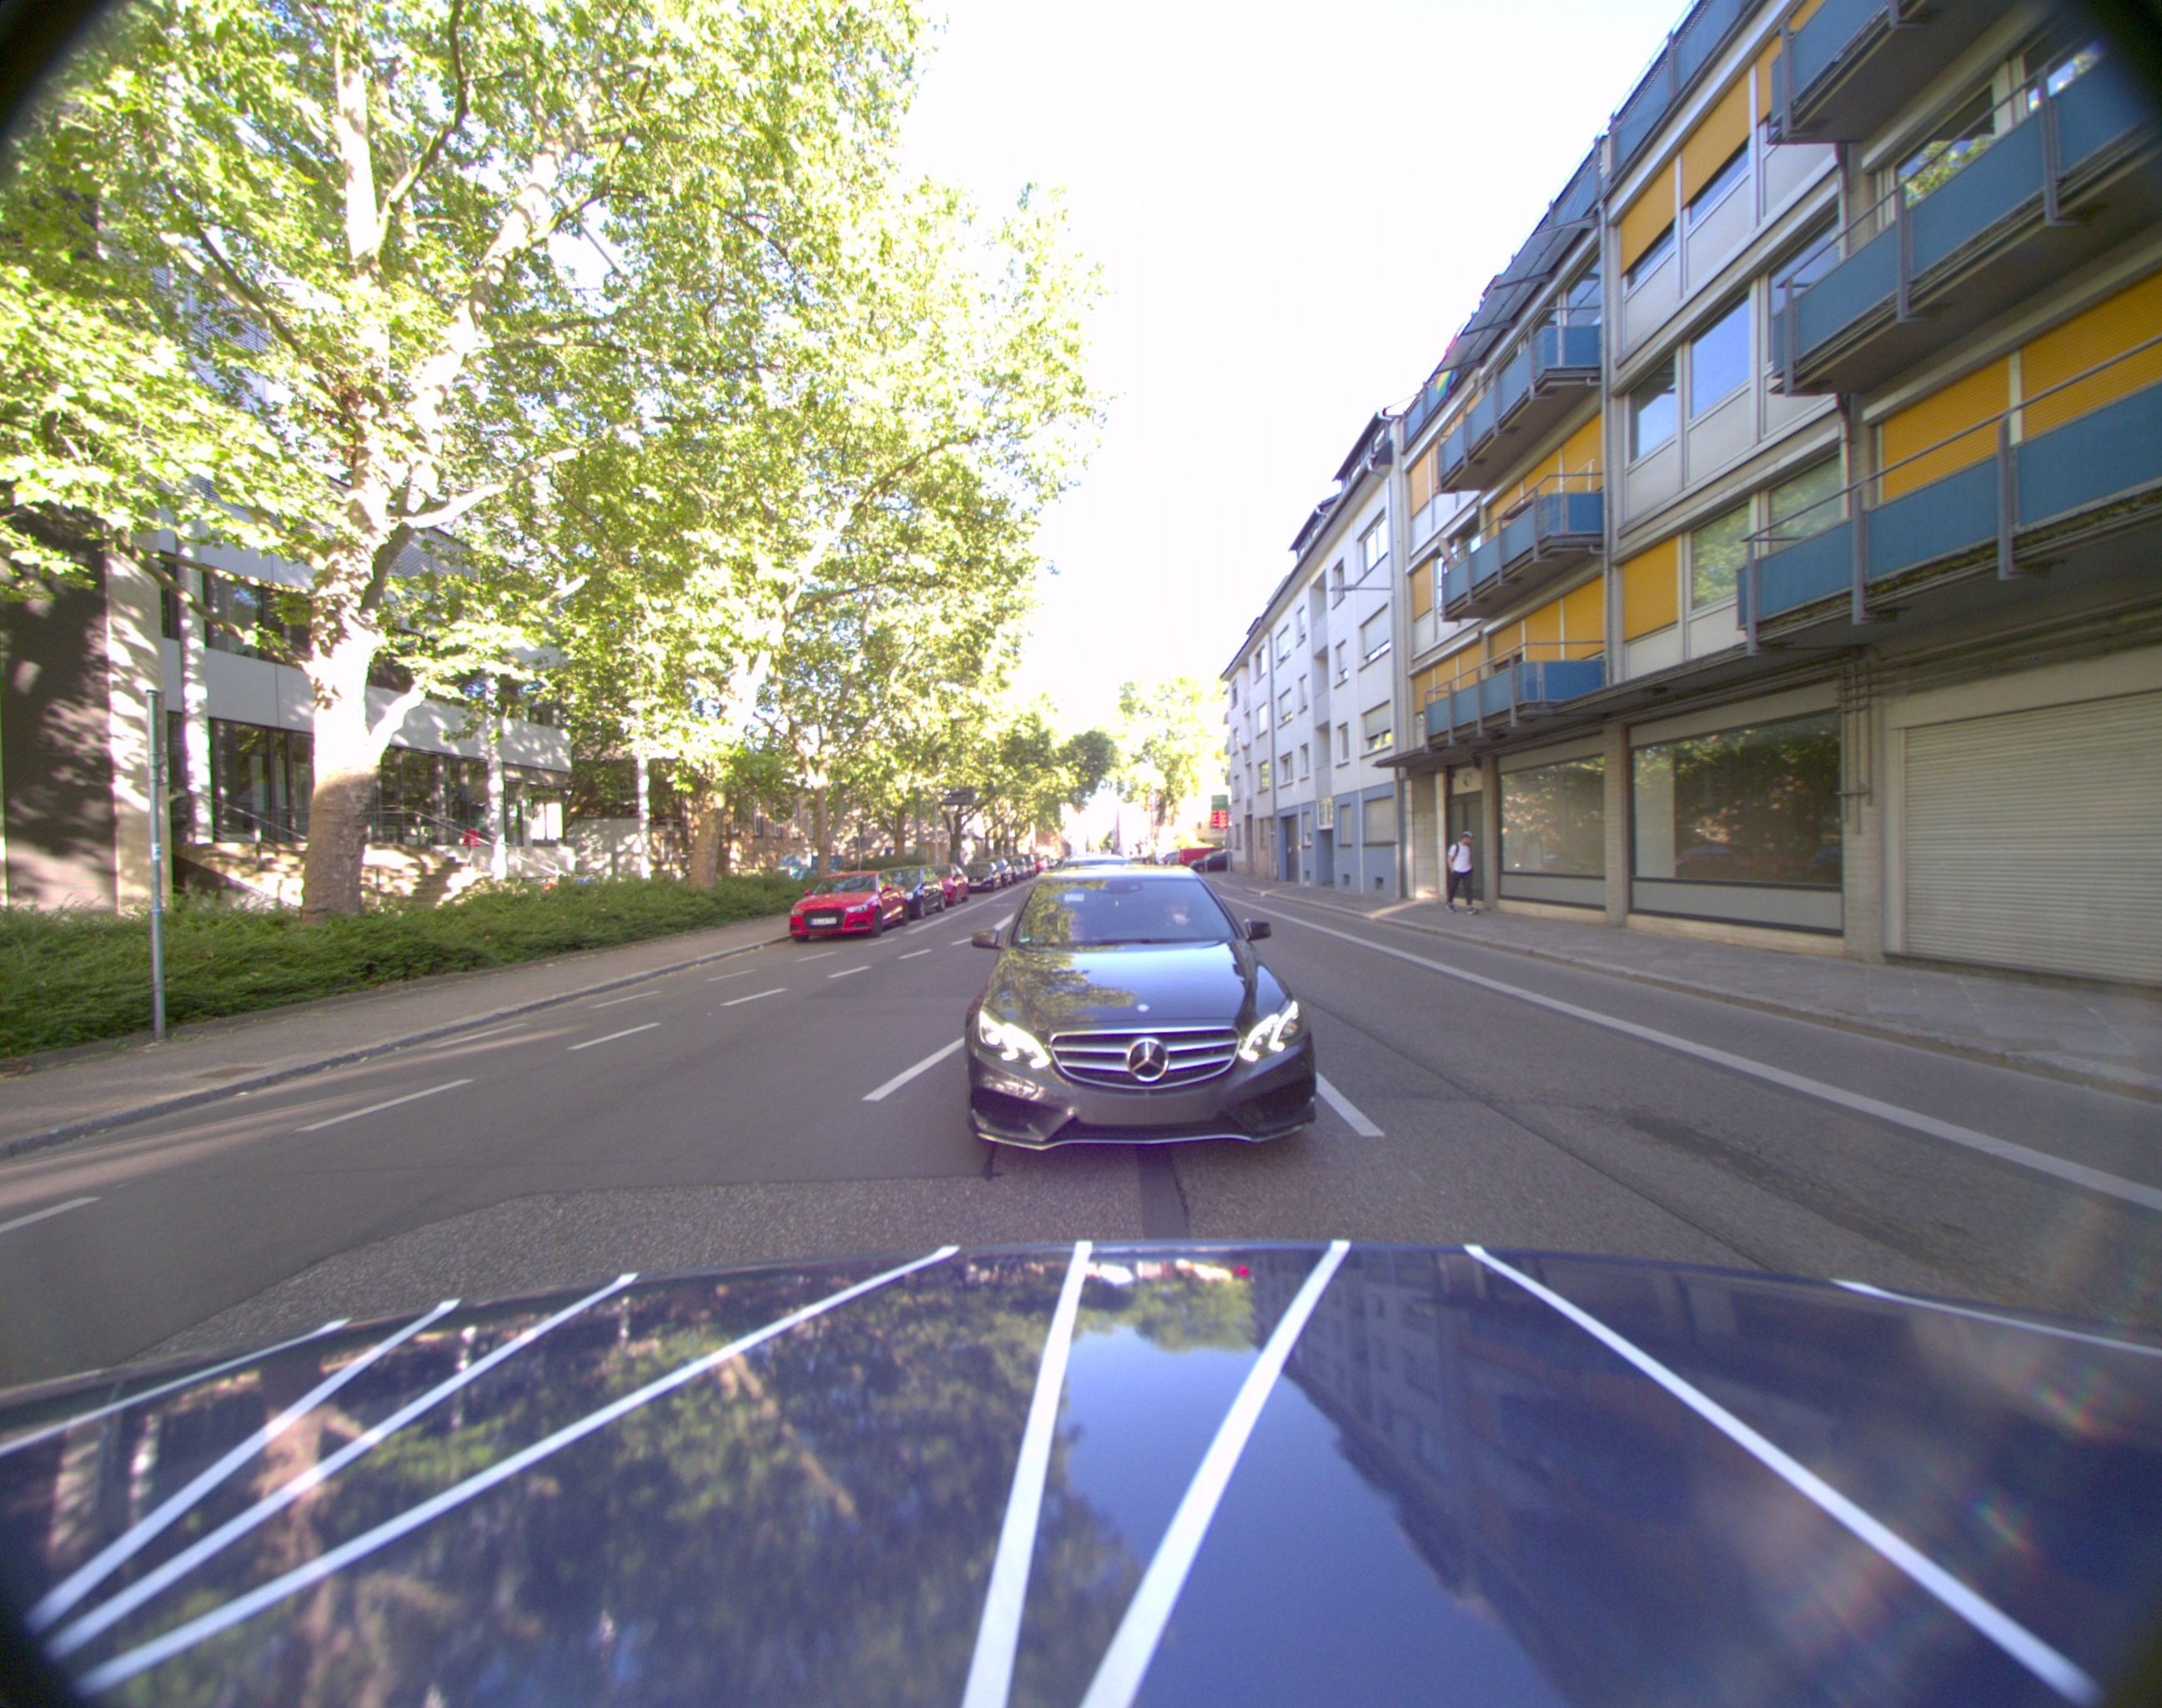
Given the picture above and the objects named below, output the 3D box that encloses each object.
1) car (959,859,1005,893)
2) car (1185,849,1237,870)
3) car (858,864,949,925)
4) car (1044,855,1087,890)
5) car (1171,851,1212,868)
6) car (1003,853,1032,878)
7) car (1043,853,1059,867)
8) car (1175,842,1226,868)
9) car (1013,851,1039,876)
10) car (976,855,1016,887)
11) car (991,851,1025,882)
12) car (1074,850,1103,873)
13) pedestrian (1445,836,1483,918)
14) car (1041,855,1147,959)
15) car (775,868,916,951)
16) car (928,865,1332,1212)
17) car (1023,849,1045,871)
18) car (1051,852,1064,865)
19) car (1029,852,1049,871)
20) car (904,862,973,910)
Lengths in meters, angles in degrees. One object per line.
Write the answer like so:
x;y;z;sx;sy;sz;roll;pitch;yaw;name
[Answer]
-4.729;1.022;36.783;1.635;1.455;3.740;-3;0;1;car
9.929;0.426;58.228;3.670;1.403;1.636;-3;1;0;car
-5.032;1.104;22.034;1.635;1.455;3.740;-3;0;1;car
-0.679;0.834;36.328;1.853;1.455;4.098;-3;0;1;car
9.605;0.481;66.112;3.325;1.241;1.295;-3;1;0;car
-4.468;0.791;54.166;1.635;1.644;3.845;-3;0;1;car
-3.753;0.740;95.568;1.635;1.713;3.672;-3;0;1;car
9.989;0.098;63.507;3.928;1.912;1.636;-3;1;0;car
-4.204;0.717;58.885;1.635;1.799;3.672;-3;0;1;car
-4.587;0.890;41.534;1.635;1.578;3.845;-3;0;1;car
-4.533;0.760;47.634;1.635;1.795;3.845;-3;0;1;car
0.509;0.472;52.848;1.829;1.455;4.098;-3;0;1;car
8.231;0.490;16.325;0.569;1.716;0.343;-3;1;0;pedestrian
0.233;0.881;14.713;1.680;1.622;4.125;-3;0;1;car
-5.152;1.149;17.244;1.804;1.455;4.125;-3;0;1;car
0.251;0.890;5.595;1.804;1.455;4.125;-3;0;1;car
-4.328;0.509;69.838;1.635;1.878;3.672;-3;0;1;car
-3.244;0.585;106.292;1.635;1.713;3.672;-3;0;1;car
-4.109;0.709;74.469;1.635;1.713;3.672;-3;0;1;car
-5.024;1.093;27.202;1.635;1.455;3.740;-3;0;1;car
